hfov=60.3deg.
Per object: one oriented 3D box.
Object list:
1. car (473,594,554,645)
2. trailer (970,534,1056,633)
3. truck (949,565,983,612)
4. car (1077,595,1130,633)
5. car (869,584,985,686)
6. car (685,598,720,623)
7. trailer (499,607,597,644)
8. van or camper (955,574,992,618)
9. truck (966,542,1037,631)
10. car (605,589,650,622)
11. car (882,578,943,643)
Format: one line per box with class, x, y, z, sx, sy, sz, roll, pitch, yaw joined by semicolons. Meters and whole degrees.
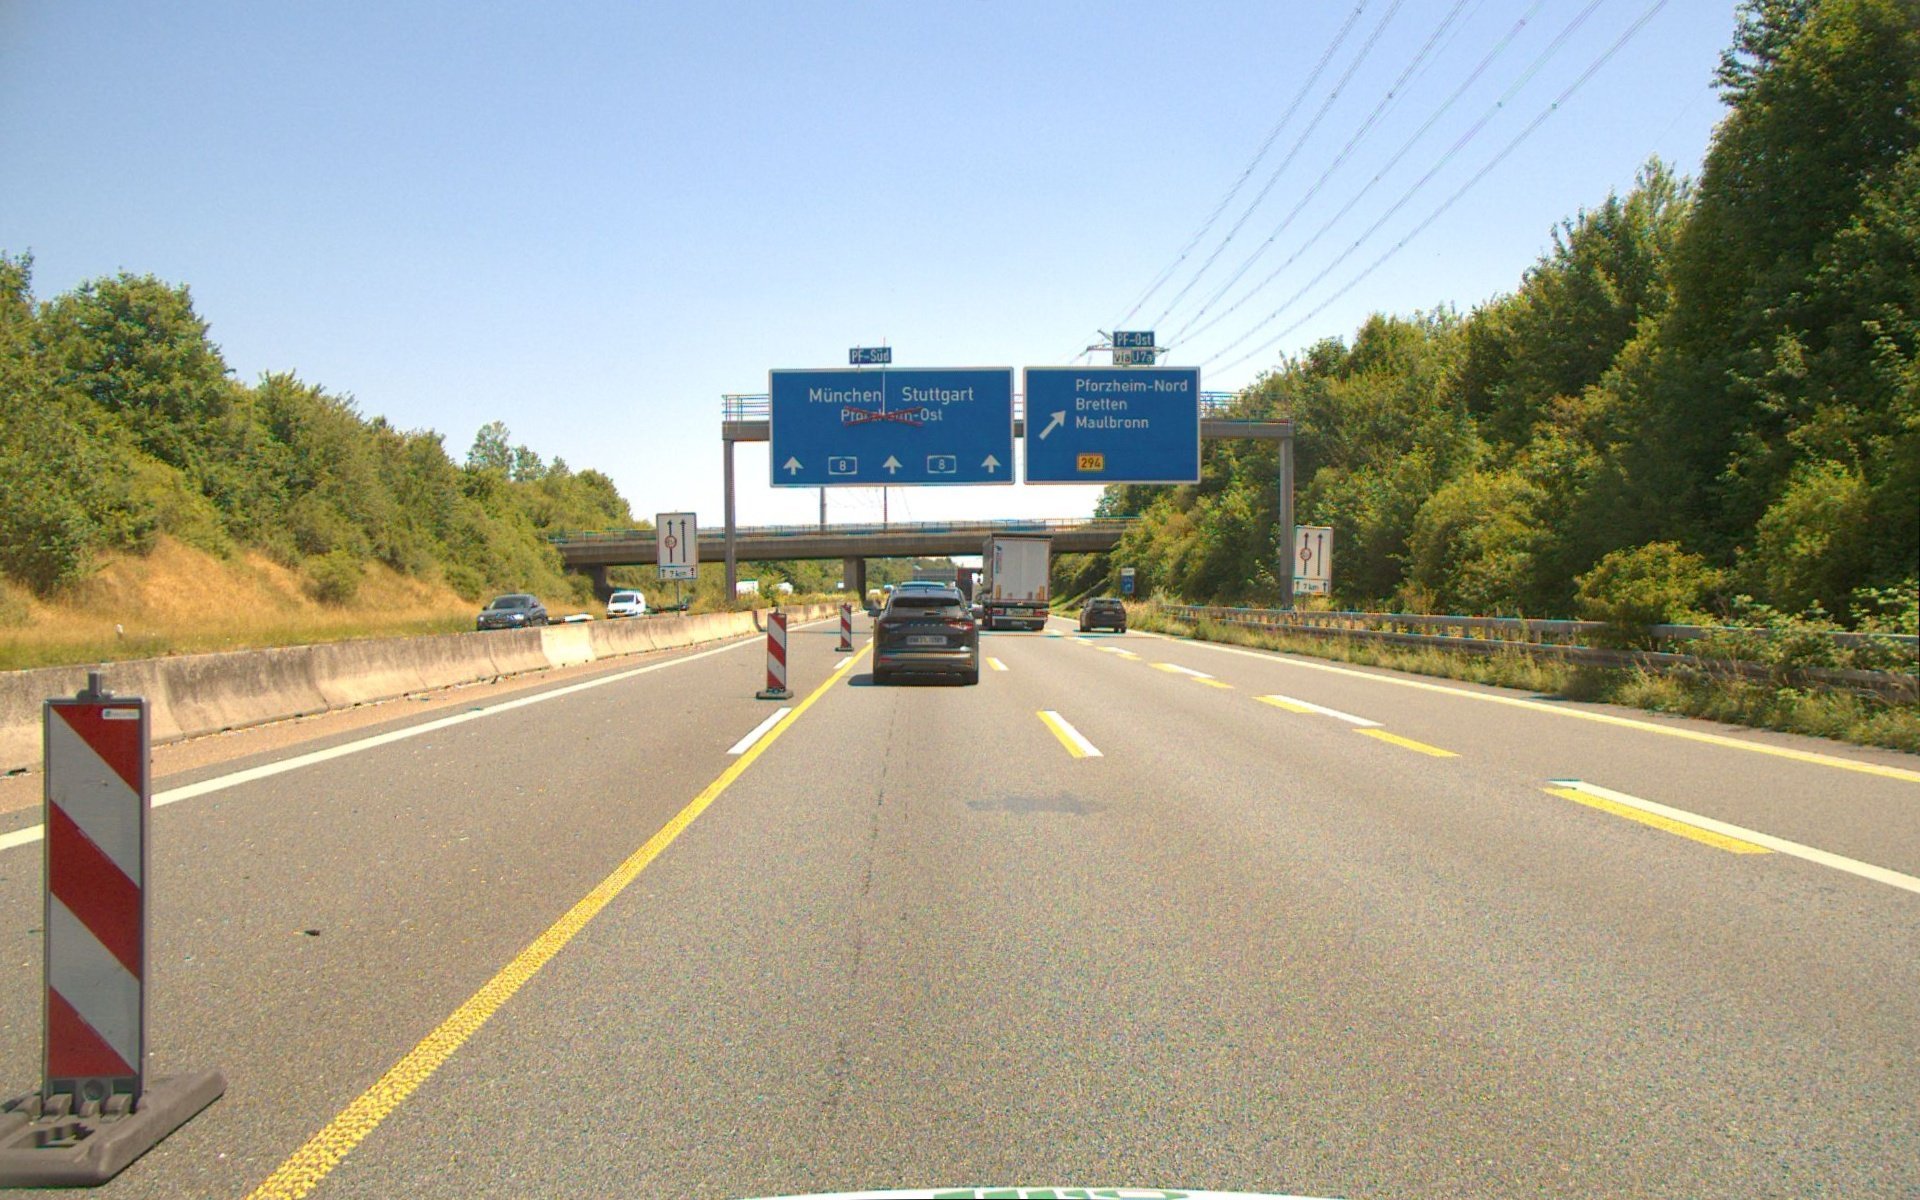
car;-16.571;0.684;61.582;1.874;1.784;4.564;1;0;-2
trailer;2.263;-0.728;75.082;3.004;4.113;11.481;0;0;-3
truck;0.549;-1.061;156.097;3.015;4.219;13.053;1;0;0
car;6.171;0.583;71.427;1.743;1.515;4.462;1;0;-2
car;-0.624;0.552;29.085;1.857;1.620;4.441;-1;1;-2
car;-18.525;0.735;119.070;1.834;1.724;4.497;-1;0;-1
trailer;-16.702;0.995;67.496;2.308;1.367;7.215;-1;0;-1
van or camper;0.970;-0.292;119.704;2.534;3.020;6.084;2;0;0
truck;1.969;-0.659;81.763;2.964;4.159;7.791;0;0;-3
car;-21.280;0.350;106.075;1.891;2.049;5.594;-1;0;-2
car;-1.606;0.319;55.445;1.858;1.873;4.442;3;2;-2
